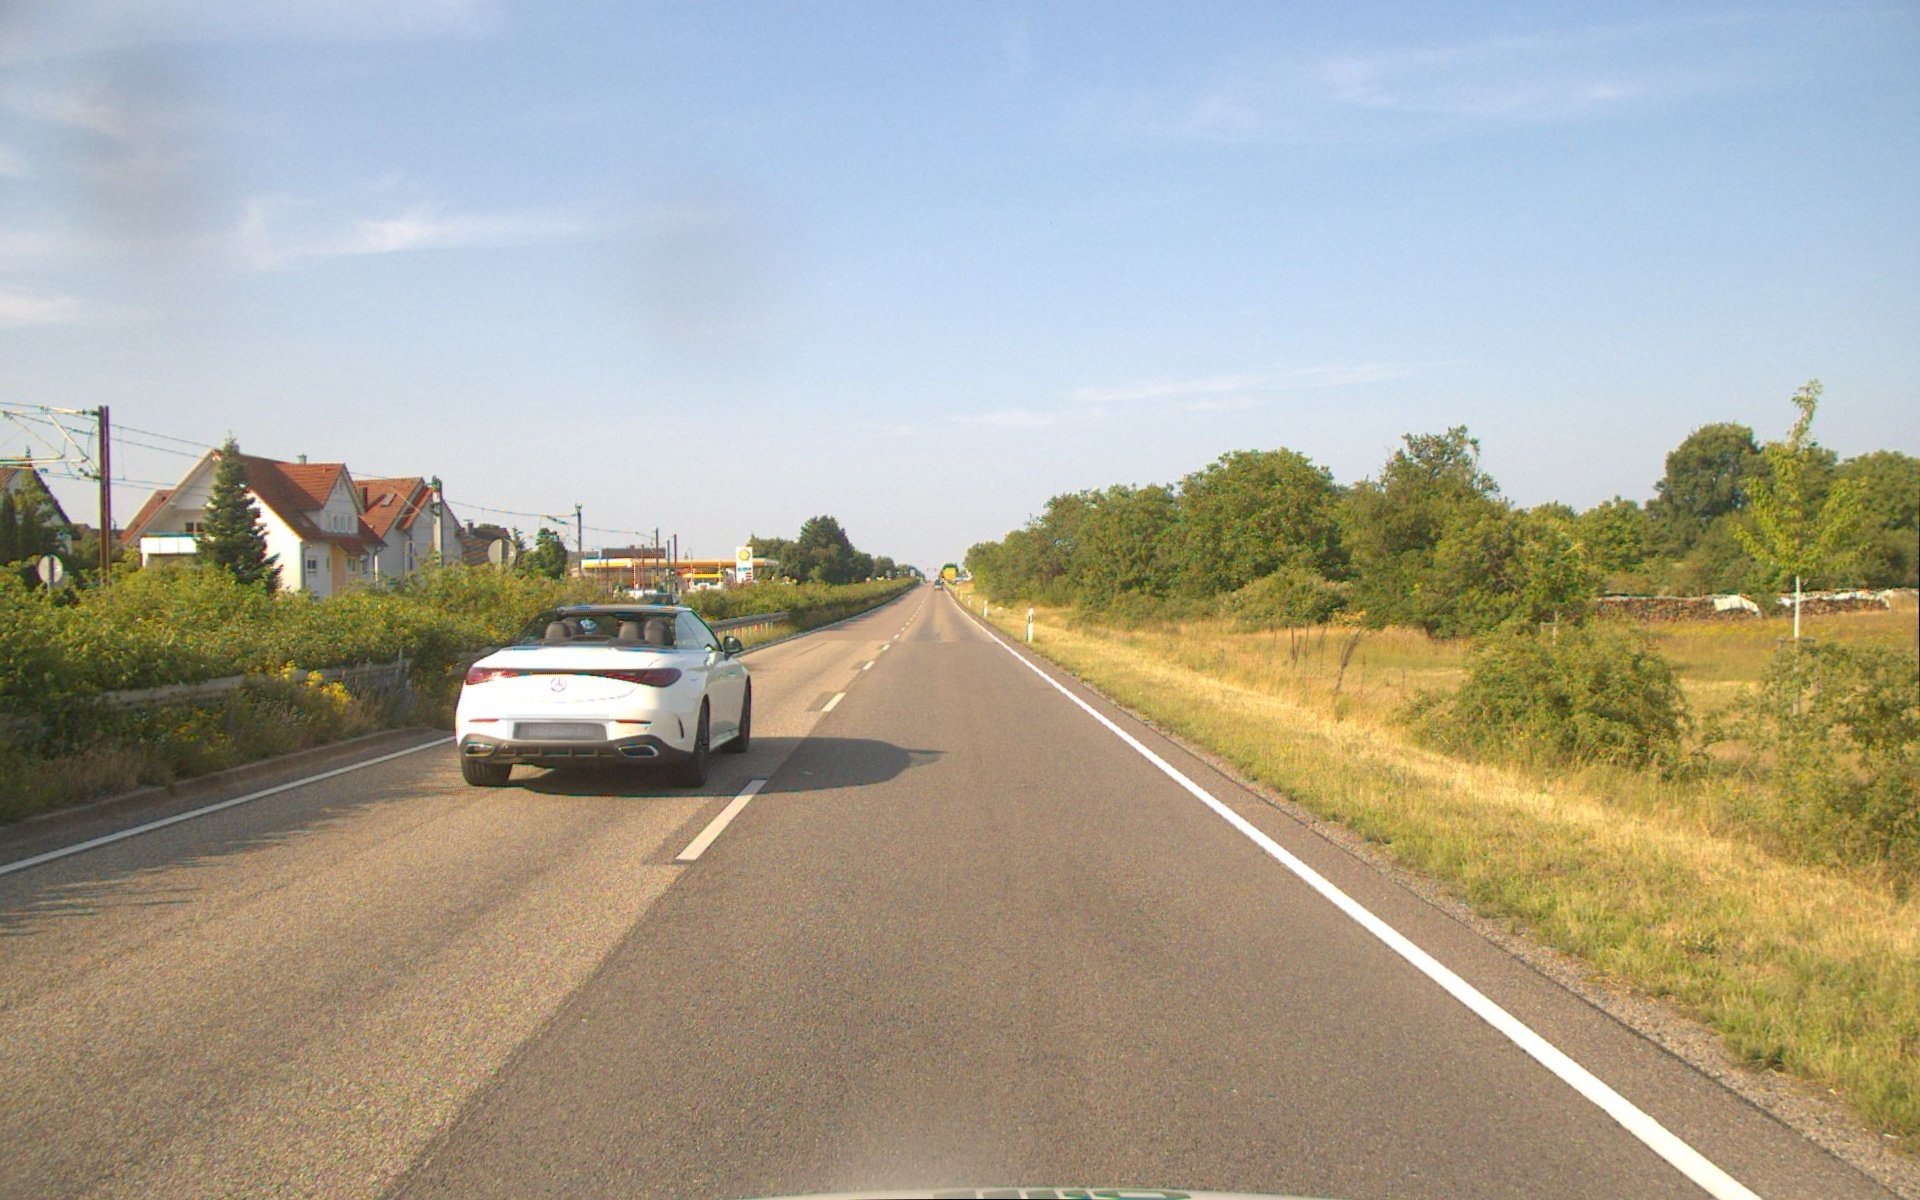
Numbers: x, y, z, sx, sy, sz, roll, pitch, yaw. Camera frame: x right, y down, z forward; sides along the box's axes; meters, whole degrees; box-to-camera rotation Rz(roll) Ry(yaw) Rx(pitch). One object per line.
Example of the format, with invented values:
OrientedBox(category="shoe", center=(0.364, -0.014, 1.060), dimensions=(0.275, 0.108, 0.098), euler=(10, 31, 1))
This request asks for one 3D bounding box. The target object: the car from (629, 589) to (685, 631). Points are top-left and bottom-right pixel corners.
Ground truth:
OrientedBox(category="car", center=(-13.376, 0.417, 73.186), dimensions=(1.694, 1.662, 4.318), euler=(-3, 0, -1))

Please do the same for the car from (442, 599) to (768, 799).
OrientedBox(category="car", center=(-2.767, 0.692, 14.051), dimensions=(1.735, 1.361, 4.949), euler=(1, 0, -1))
